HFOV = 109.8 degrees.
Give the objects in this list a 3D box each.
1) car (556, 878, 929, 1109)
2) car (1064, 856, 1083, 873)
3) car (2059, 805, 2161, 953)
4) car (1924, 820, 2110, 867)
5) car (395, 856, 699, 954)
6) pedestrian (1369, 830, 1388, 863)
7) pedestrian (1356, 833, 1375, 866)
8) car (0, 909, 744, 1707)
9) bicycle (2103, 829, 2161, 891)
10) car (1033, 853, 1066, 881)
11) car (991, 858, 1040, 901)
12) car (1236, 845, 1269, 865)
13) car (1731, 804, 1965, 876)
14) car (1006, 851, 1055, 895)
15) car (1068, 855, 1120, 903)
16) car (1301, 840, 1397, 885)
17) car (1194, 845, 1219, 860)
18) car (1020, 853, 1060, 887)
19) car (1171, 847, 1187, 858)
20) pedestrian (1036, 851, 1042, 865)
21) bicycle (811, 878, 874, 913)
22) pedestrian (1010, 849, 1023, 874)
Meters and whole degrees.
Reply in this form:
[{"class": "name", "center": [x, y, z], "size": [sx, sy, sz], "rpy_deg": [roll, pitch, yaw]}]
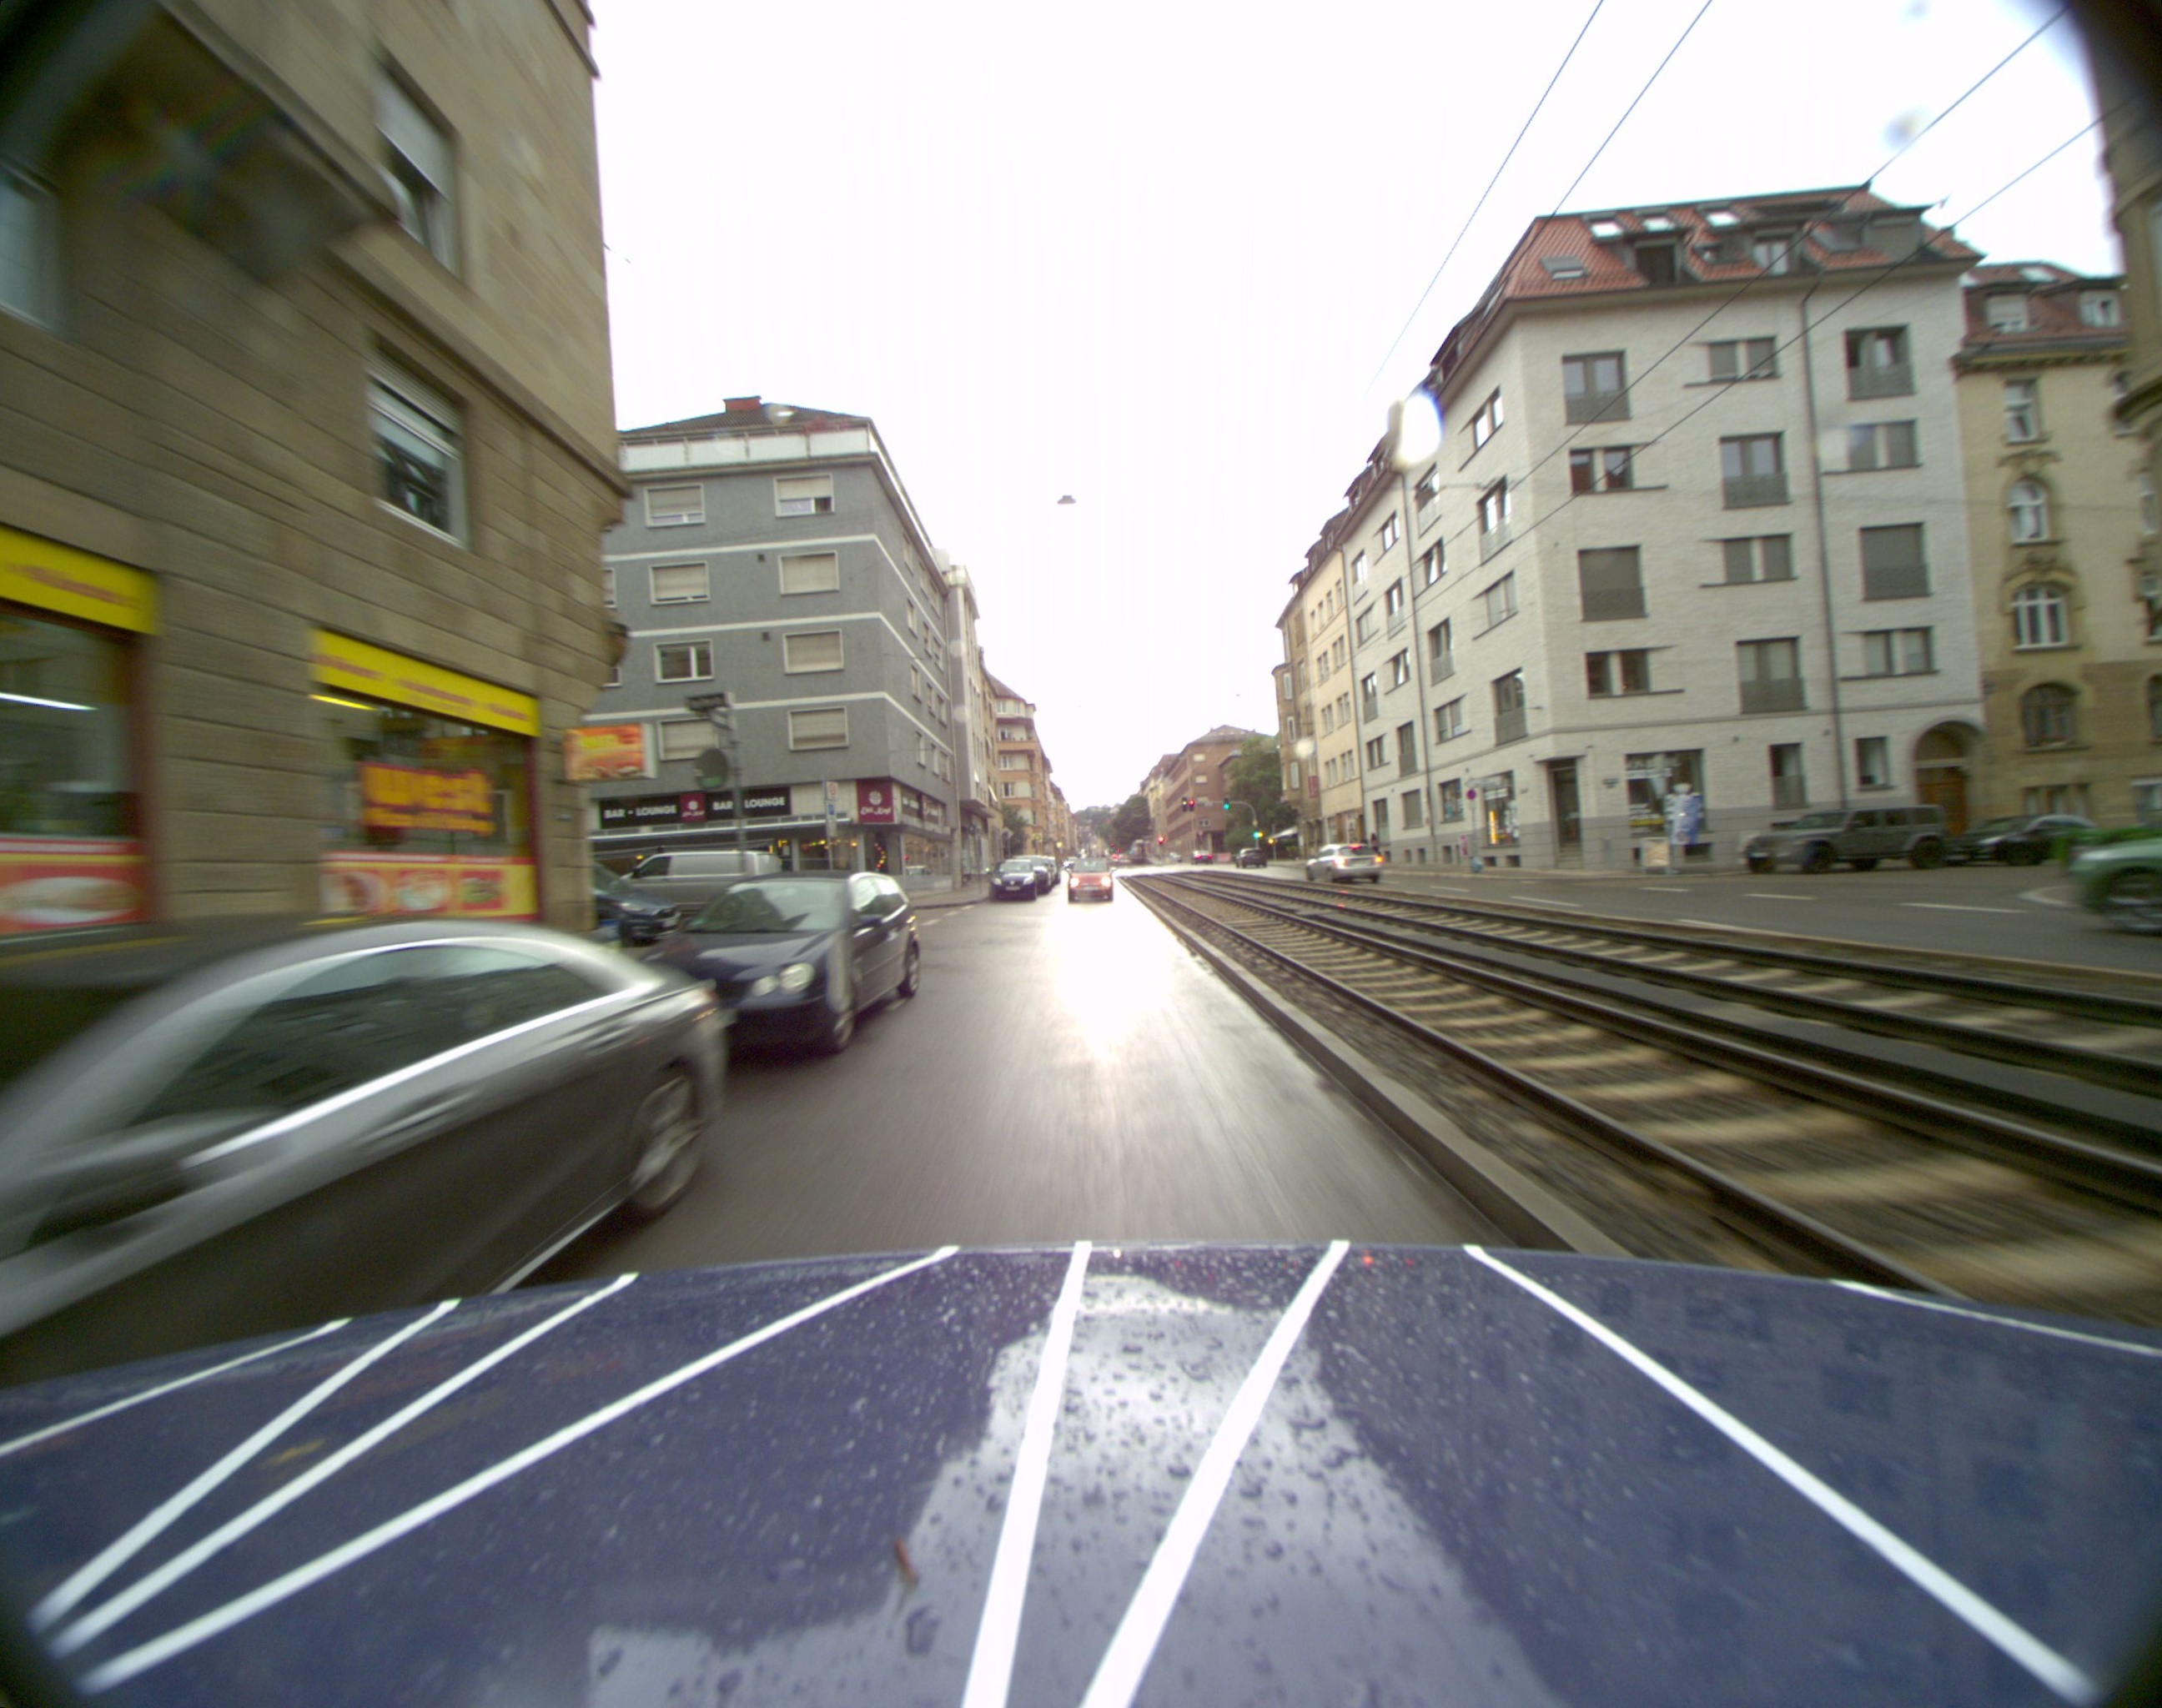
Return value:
[{"class": "car", "center": [-2.705, 1.023, 7.107], "size": [1.675, 1.435, 3.790], "rpy_deg": [-1, 0, 1]}, {"class": "car", "center": [-0.930, 1.290, 96.866], "size": [2.135, 2.002, 4.328], "rpy_deg": [-3, 0, 1]}, {"class": "car", "center": [12.478, 0.237, 6.792], "size": [1.863, 1.592, 4.430], "rpy_deg": [-2, 0, 3]}, {"class": "car", "center": [26.707, -0.288, 21.744], "size": [3.522, 1.217, 1.431], "rpy_deg": [-2, 0, 1]}, {"class": "car", "center": [-10.759, 0.988, 15.592], "size": [4.790, 1.851, 2.000], "rpy_deg": [0, 0, 0]}, {"class": "pedestrian", "center": [15.871, -0.384, 40.578], "size": [0.603, 1.708, 0.658], "rpy_deg": [-6, 1, 4]}, {"class": "pedestrian", "center": [15.237, -0.250, 40.658], "size": [0.603, 1.708, 0.746], "rpy_deg": [-6, 0, 4]}, {"class": "car", "center": [-2.616, 1.002, 1.796], "size": [1.759, 1.379, 4.484], "rpy_deg": [-1, 0, -2]}, {"class": "bicycle", "center": [20.330, 0.090, 13.734], "size": [2.131, 1.113, 0.622], "rpy_deg": [-1, 1, 30]}, {"class": "car", "center": [-1.894, 0.753, 46.775], "size": [1.715, 1.604, 4.519], "rpy_deg": [-1, 0, 1]}, {"class": "car", "center": [-2.430, 0.924, 28.992], "size": [1.696, 1.474, 3.928], "rpy_deg": [-1, 0, -3]}, {"class": "car", "center": [12.765, 0.084, 56.620], "size": [1.708, 1.379, 3.781], "rpy_deg": [-2, 0, 3]}, {"class": "car", "center": [21.854, -0.388, 21.791], "size": [4.704, 1.718, 2.034], "rpy_deg": [-3, 0, -2]}, {"class": "car", "center": [-2.188, 0.802, 34.046], "size": [1.797, 1.750, 4.566], "rpy_deg": [-3, 0, 0]}, {"class": "car", "center": [0.461, 0.832, 27.121], "size": [1.683, 1.531, 4.018], "rpy_deg": [-2, 0, 1]}, {"class": "car", "center": [9.860, 0.288, 28.342], "size": [1.986, 1.448, 4.294], "rpy_deg": [-2, 0, 0]}, {"class": "car", "center": [13.398, -0.153, 81.562], "size": [2.093, 1.449, 4.860], "rpy_deg": [-2, 0, 3]}, {"class": "car", "center": [-2.126, 0.798, 40.395], "size": [1.822, 1.645, 4.250], "rpy_deg": [-1, 0, 1]}, {"class": "car", "center": [13.951, -0.224, 108.340], "size": [1.717, 1.452, 4.643], "rpy_deg": [-3, 0, 2]}, {"class": "pedestrian", "center": [-4.768, 0.457, 85.654], "size": [0.579, 1.563, 0.438], "rpy_deg": [-3, 1, 0]}, {"class": "bicycle", "center": [-7.491, 1.304, 23.928], "size": [1.753, 0.967, 0.533], "rpy_deg": [-3, 1, 2]}, {"class": "pedestrian", "center": [-4.839, 0.547, 56.755], "size": [0.852, 1.807, 0.847], "rpy_deg": [-1, 1, 1]}]
